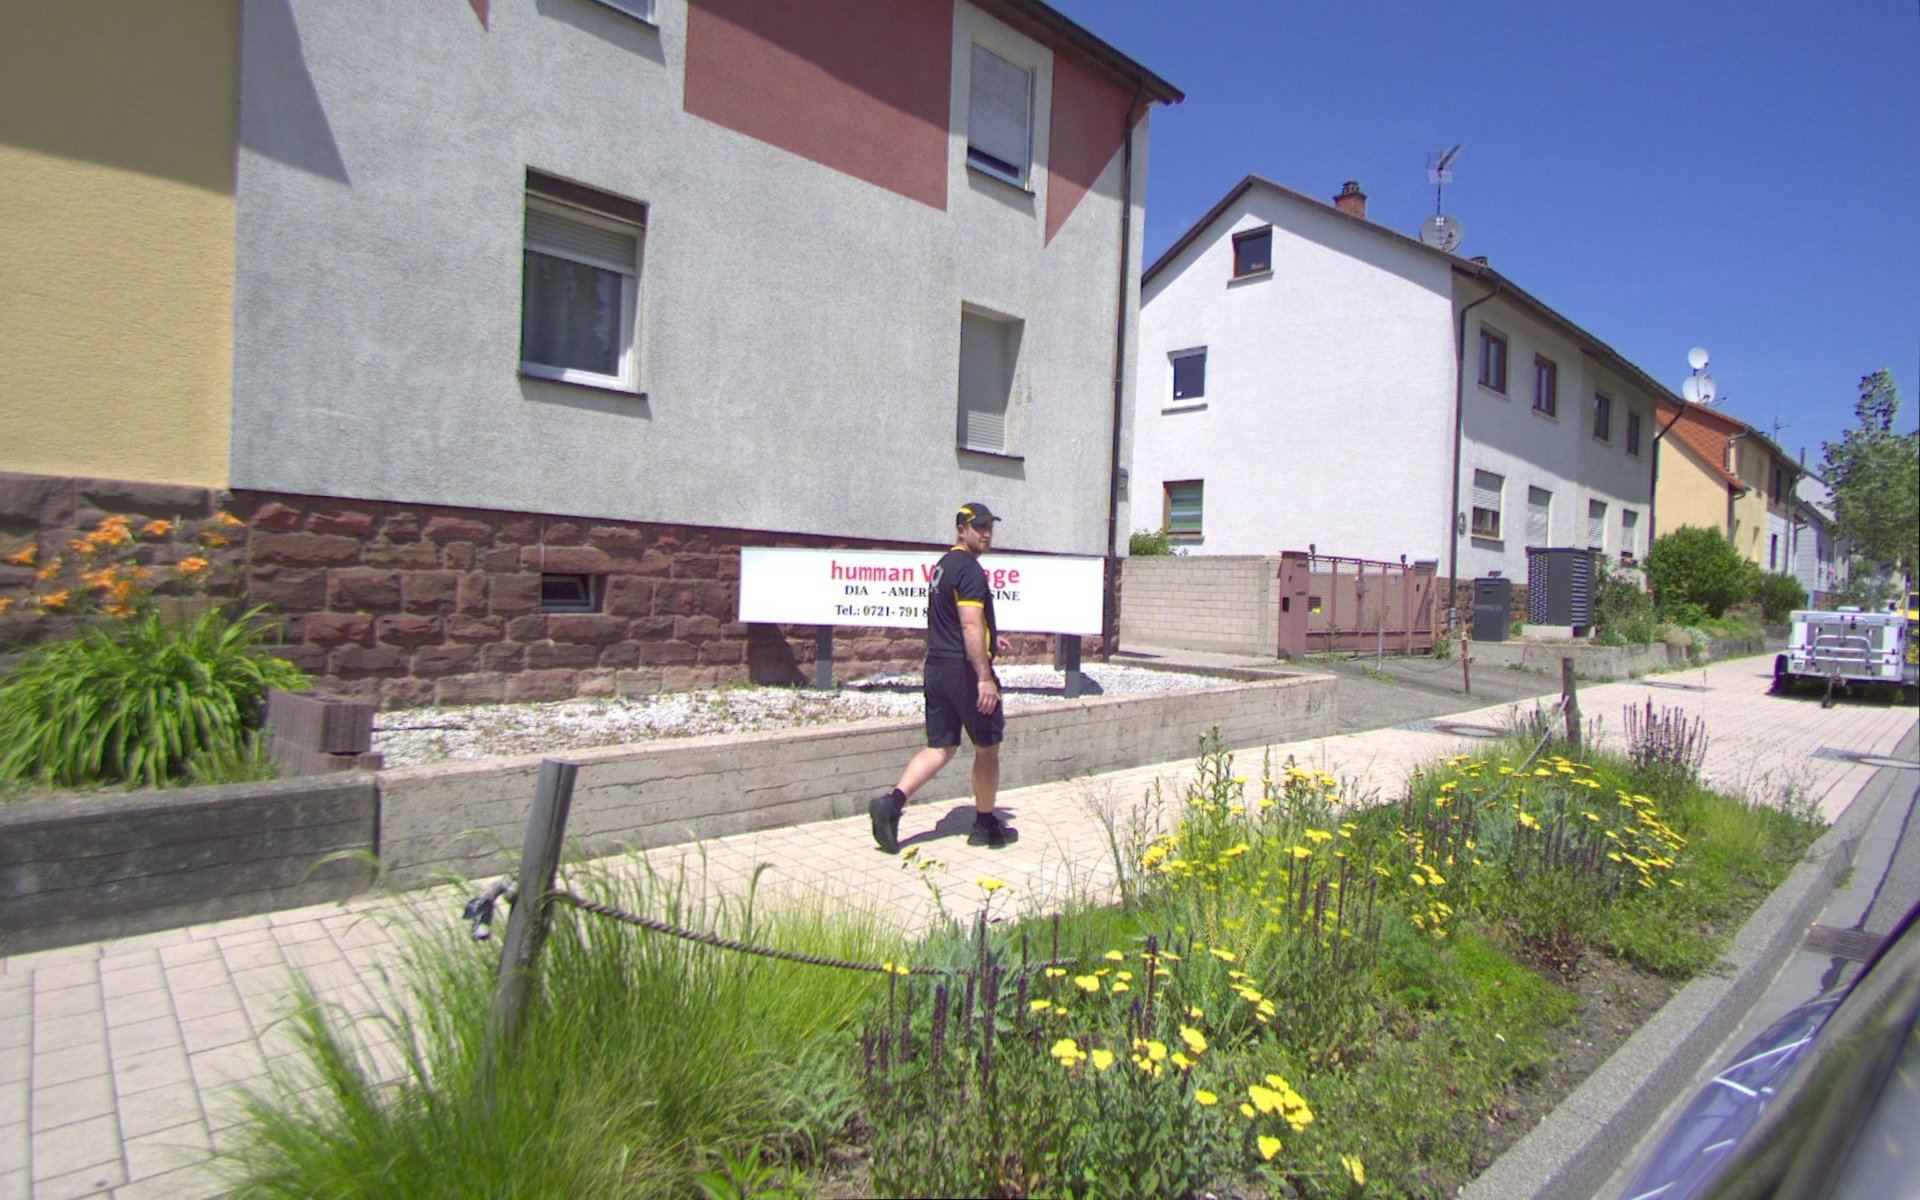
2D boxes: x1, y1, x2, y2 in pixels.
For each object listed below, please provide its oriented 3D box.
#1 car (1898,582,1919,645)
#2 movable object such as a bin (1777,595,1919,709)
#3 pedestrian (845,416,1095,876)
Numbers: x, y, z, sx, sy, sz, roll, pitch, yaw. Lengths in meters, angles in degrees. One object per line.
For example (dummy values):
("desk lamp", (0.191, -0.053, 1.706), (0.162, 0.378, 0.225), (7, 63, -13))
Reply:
("car", (34.542, 0.494, 35.378), (5.532, 2.037, 2.193), (-1, 6, -45))
("movable object such as a bin", (13.473, 0.692, 15.132), (2.992, 1.434, 1.573), (-1, 3, -44))
("pedestrian", (0.058, 0.195, 5.109), (1.016, 2.039, 0.747), (-1, 0, -42))
